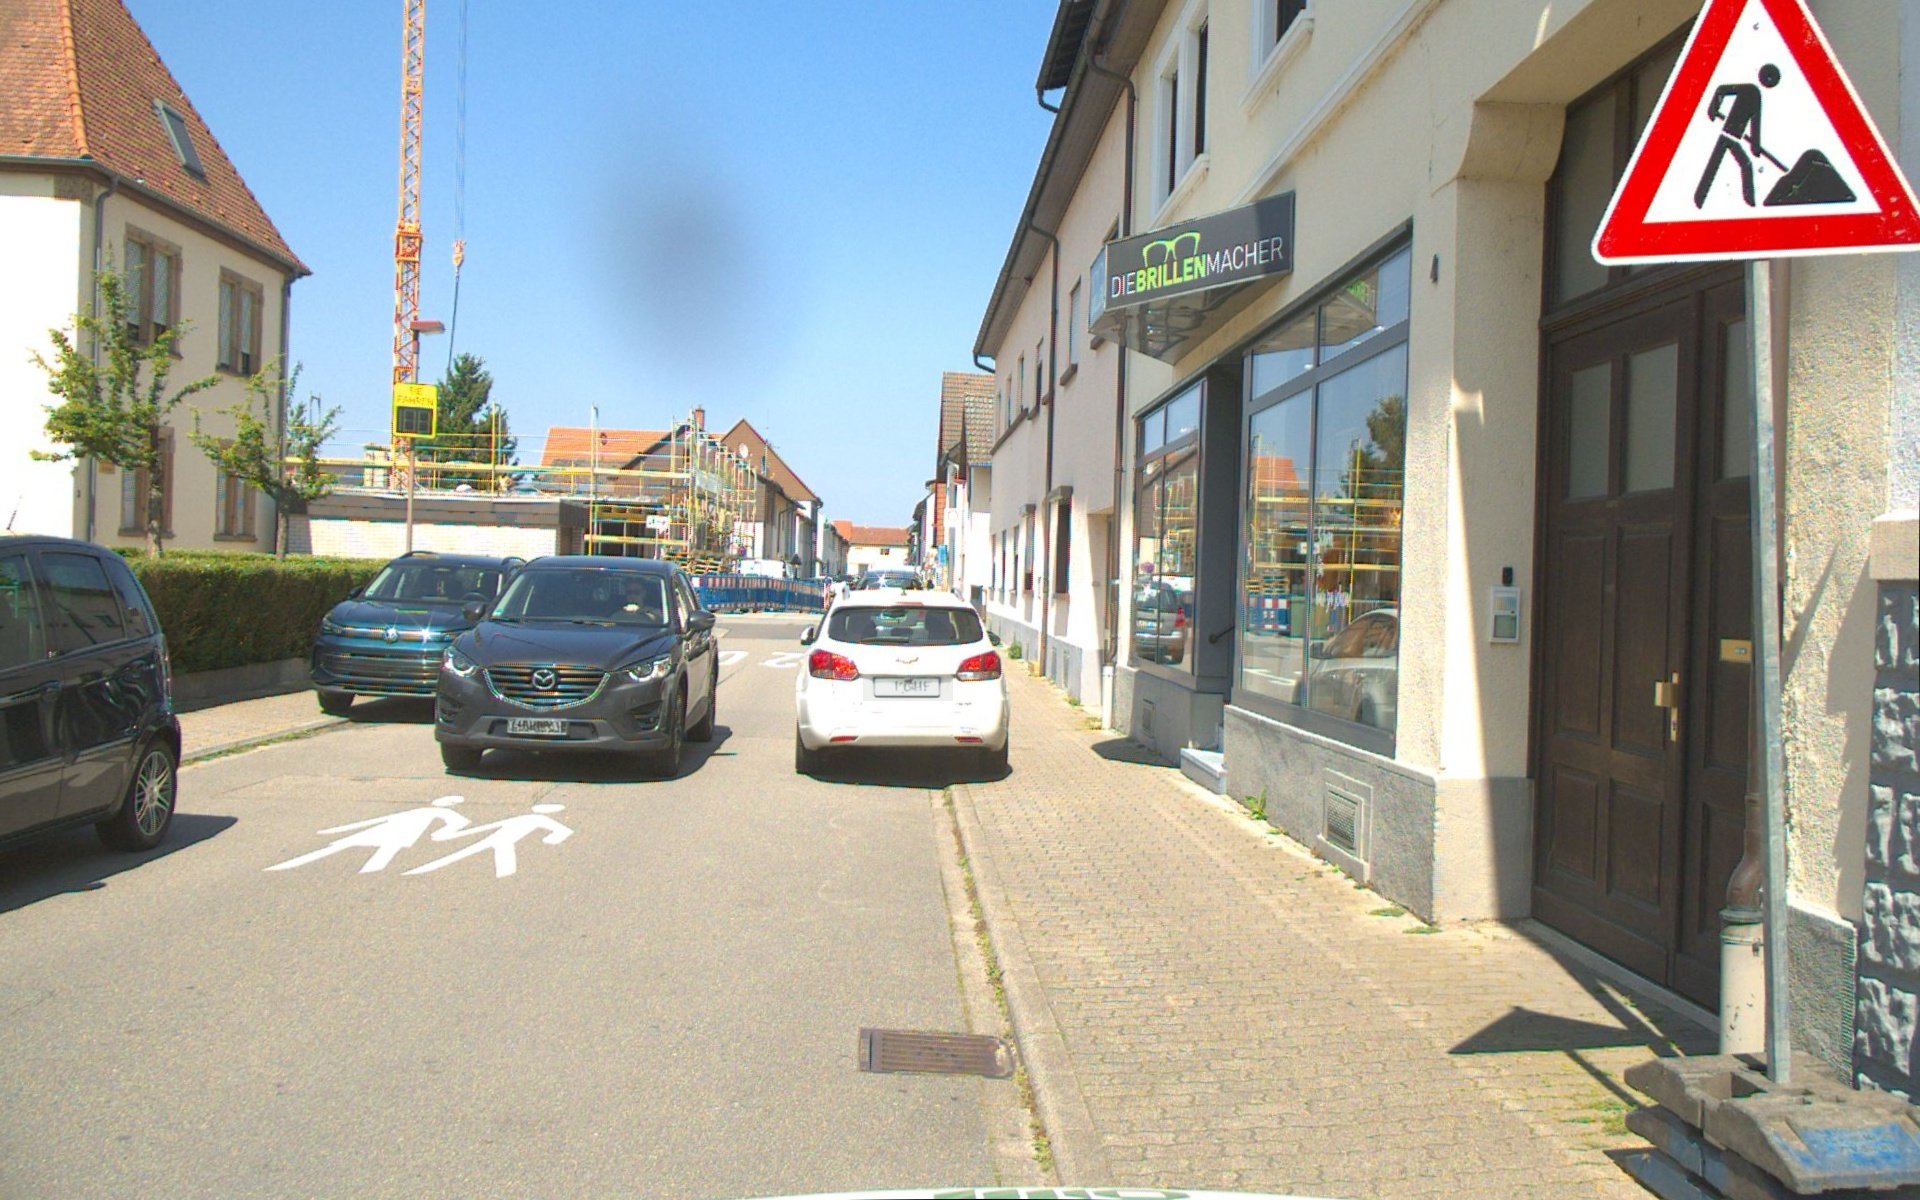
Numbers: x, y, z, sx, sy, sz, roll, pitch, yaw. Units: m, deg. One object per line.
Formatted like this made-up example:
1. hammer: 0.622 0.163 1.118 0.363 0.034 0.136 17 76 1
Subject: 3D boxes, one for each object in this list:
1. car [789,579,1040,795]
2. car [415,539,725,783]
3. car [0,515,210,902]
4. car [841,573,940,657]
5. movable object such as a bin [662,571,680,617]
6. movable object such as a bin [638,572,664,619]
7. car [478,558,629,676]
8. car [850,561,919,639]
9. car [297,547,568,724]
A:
1. car: -0.532 0.635 14.591 1.850 1.569 4.238 2 1 -6
2. car: -3.094 0.419 13.982 1.844 1.697 4.150 2 1 -4
3. car: -4.904 0.435 7.274 1.605 1.657 3.766 2 1 -3
4. car: -1.499 0.260 34.489 1.848 1.583 3.890 -1 1 -5
5. movable object such as a bin: -7.550 -0.149 43.185 0.424 1.175 0.363 2 1 -12
6. movable object such as a bin: -7.979 -0.121 42.683 0.610 1.175 0.676 2 1 -10
7. car: -5.695 0.214 23.545 1.408 1.500 3.783 2 0 -4
8. car: -1.809 -0.043 39.656 1.533 1.641 3.542 2 3 -3
9. car: -5.600 0.320 18.117 1.790 1.659 4.214 2 1 -3
